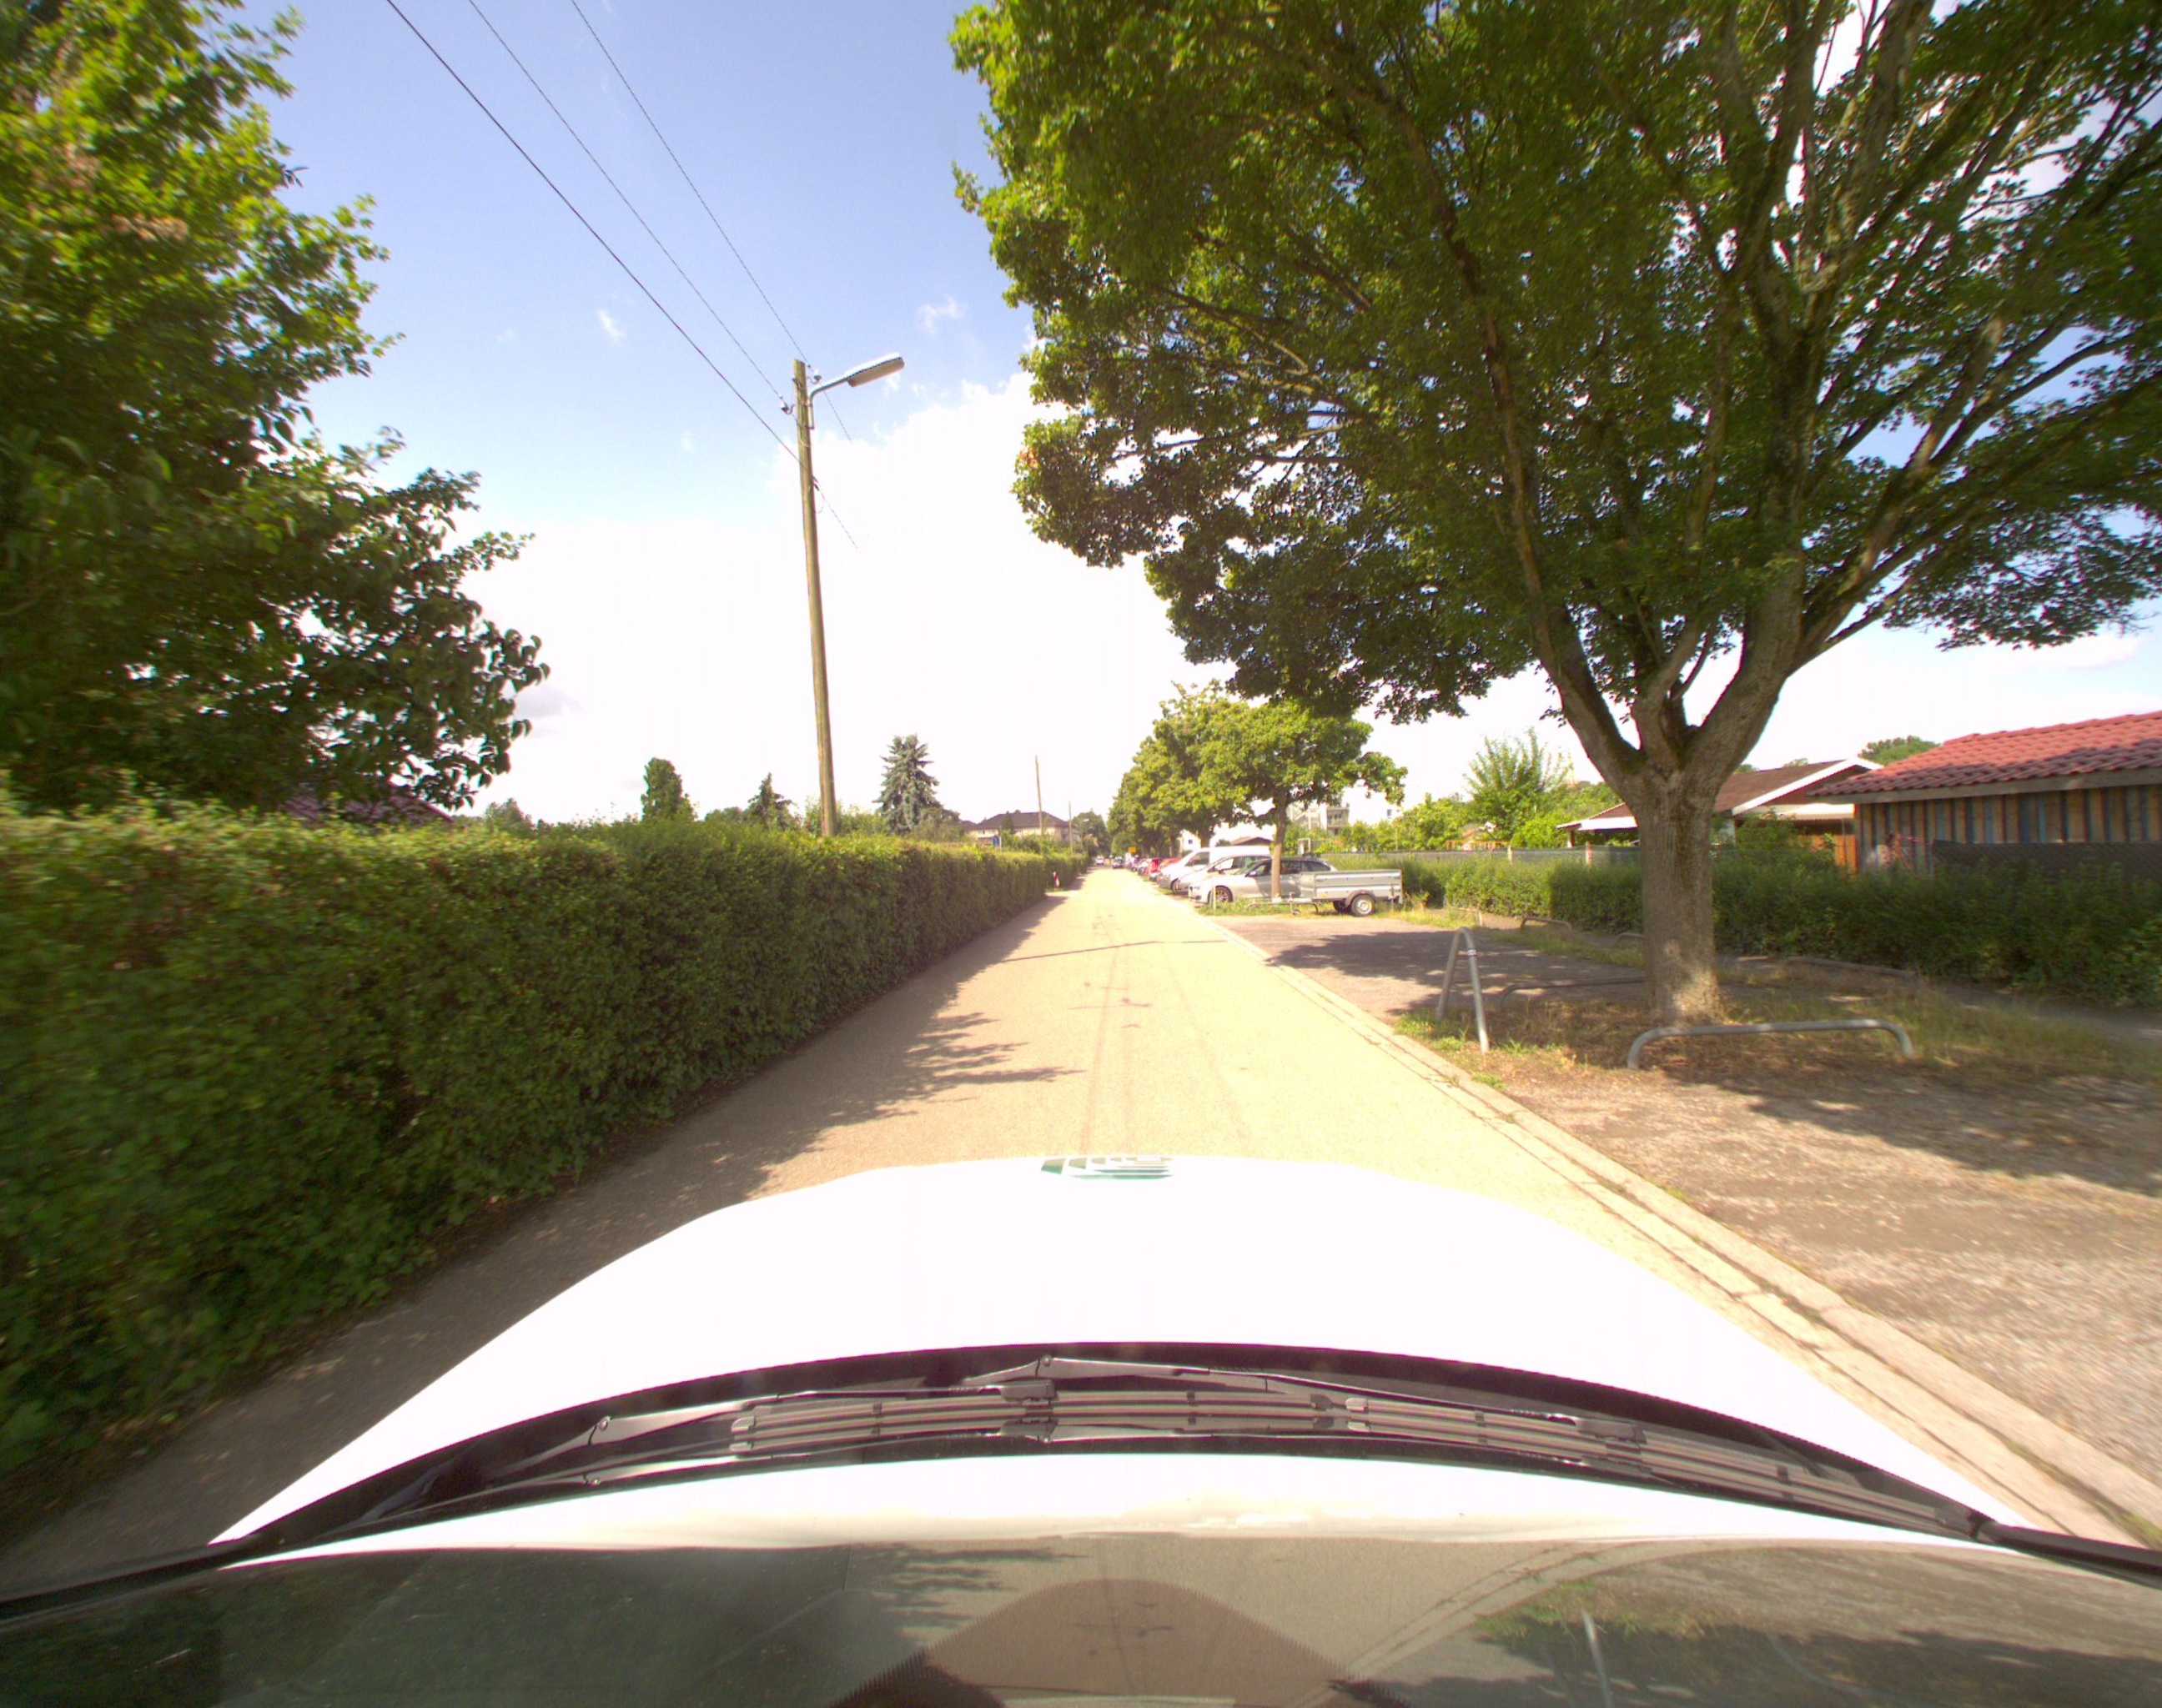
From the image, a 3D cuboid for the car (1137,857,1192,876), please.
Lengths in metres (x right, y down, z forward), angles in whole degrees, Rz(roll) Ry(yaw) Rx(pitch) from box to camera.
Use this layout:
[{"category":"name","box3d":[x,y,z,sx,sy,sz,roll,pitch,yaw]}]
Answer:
[{"category":"car","box3d":[6.458,0.982,63.410,4.053,1.455,1.869,0,-1,-1]}]

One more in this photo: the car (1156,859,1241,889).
[{"category":"car","box3d":[6.026,1.004,42.088,4.166,1.504,1.879,0,-1,2]}]

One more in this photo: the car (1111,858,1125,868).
[{"category":"car","box3d":[5.434,1.320,118.700,1.655,1.506,4.007,0,-1,7]}]

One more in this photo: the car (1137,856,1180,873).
[{"category":"car","box3d":[7.051,0.975,74.093,3.713,1.540,1.848,0,-1,-2]}]

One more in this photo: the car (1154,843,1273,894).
[{"category":"car","box3d":[5.499,0.607,34.336,4.619,1.886,2.111,-3,0,0]}]

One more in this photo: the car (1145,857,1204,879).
[{"category":"car","box3d":[6.499,0.960,56.723,3.968,1.520,1.857,0,-1,5]}]

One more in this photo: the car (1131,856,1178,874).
[{"category":"car","box3d":[6.884,1.017,76.680,4.287,1.594,2.000,0,-1,1]}]

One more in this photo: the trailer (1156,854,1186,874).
[{"category":"trailer","box3d":[7.829,0.854,71.188,2.443,1.720,1.517,0,0,-2]}]

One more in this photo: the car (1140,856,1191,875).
[{"category":"car","box3d":[6.933,0.948,67.009,4.046,1.511,1.960,0,-1,4]}]

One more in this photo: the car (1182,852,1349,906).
[{"category":"car","box3d":[5.472,0.733,24.629,4.566,1.466,1.999,-1,0,-2]}]

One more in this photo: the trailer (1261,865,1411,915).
[{"category":"trailer","box3d":[6.135,0.839,19.877,3.088,1.142,2.001,0,-1,2]}]

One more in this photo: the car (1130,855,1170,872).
[{"category":"car","box3d":[7.347,1.028,87.271,4.139,1.637,1.879,-2,-1,1]}]

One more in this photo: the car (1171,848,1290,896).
[{"category":"car","box3d":[5.727,0.687,31.585,4.227,1.592,2.001,-3,0,2]}]

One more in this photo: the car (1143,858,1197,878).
[{"category":"car","box3d":[6.560,1.010,60.238,3.892,1.424,1.960,0,-1,4]}]

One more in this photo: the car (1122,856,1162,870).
[{"category":"car","box3d":[6.983,1.007,93.924,4.533,1.578,1.808,0,-1,0]}]

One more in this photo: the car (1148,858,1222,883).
[{"category":"car","box3d":[6.242,0.993,49.198,4.228,1.428,1.906,0,-1,-2]}]

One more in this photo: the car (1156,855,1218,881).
[{"category":"car","box3d":[6.715,0.883,51.915,3.751,1.574,1.870,0,-1,1]}]

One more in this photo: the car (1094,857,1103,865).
[{"category":"car","box3d":[4.002,1.602,187.400,1.894,1.814,4.005,0,-1,4]}]
